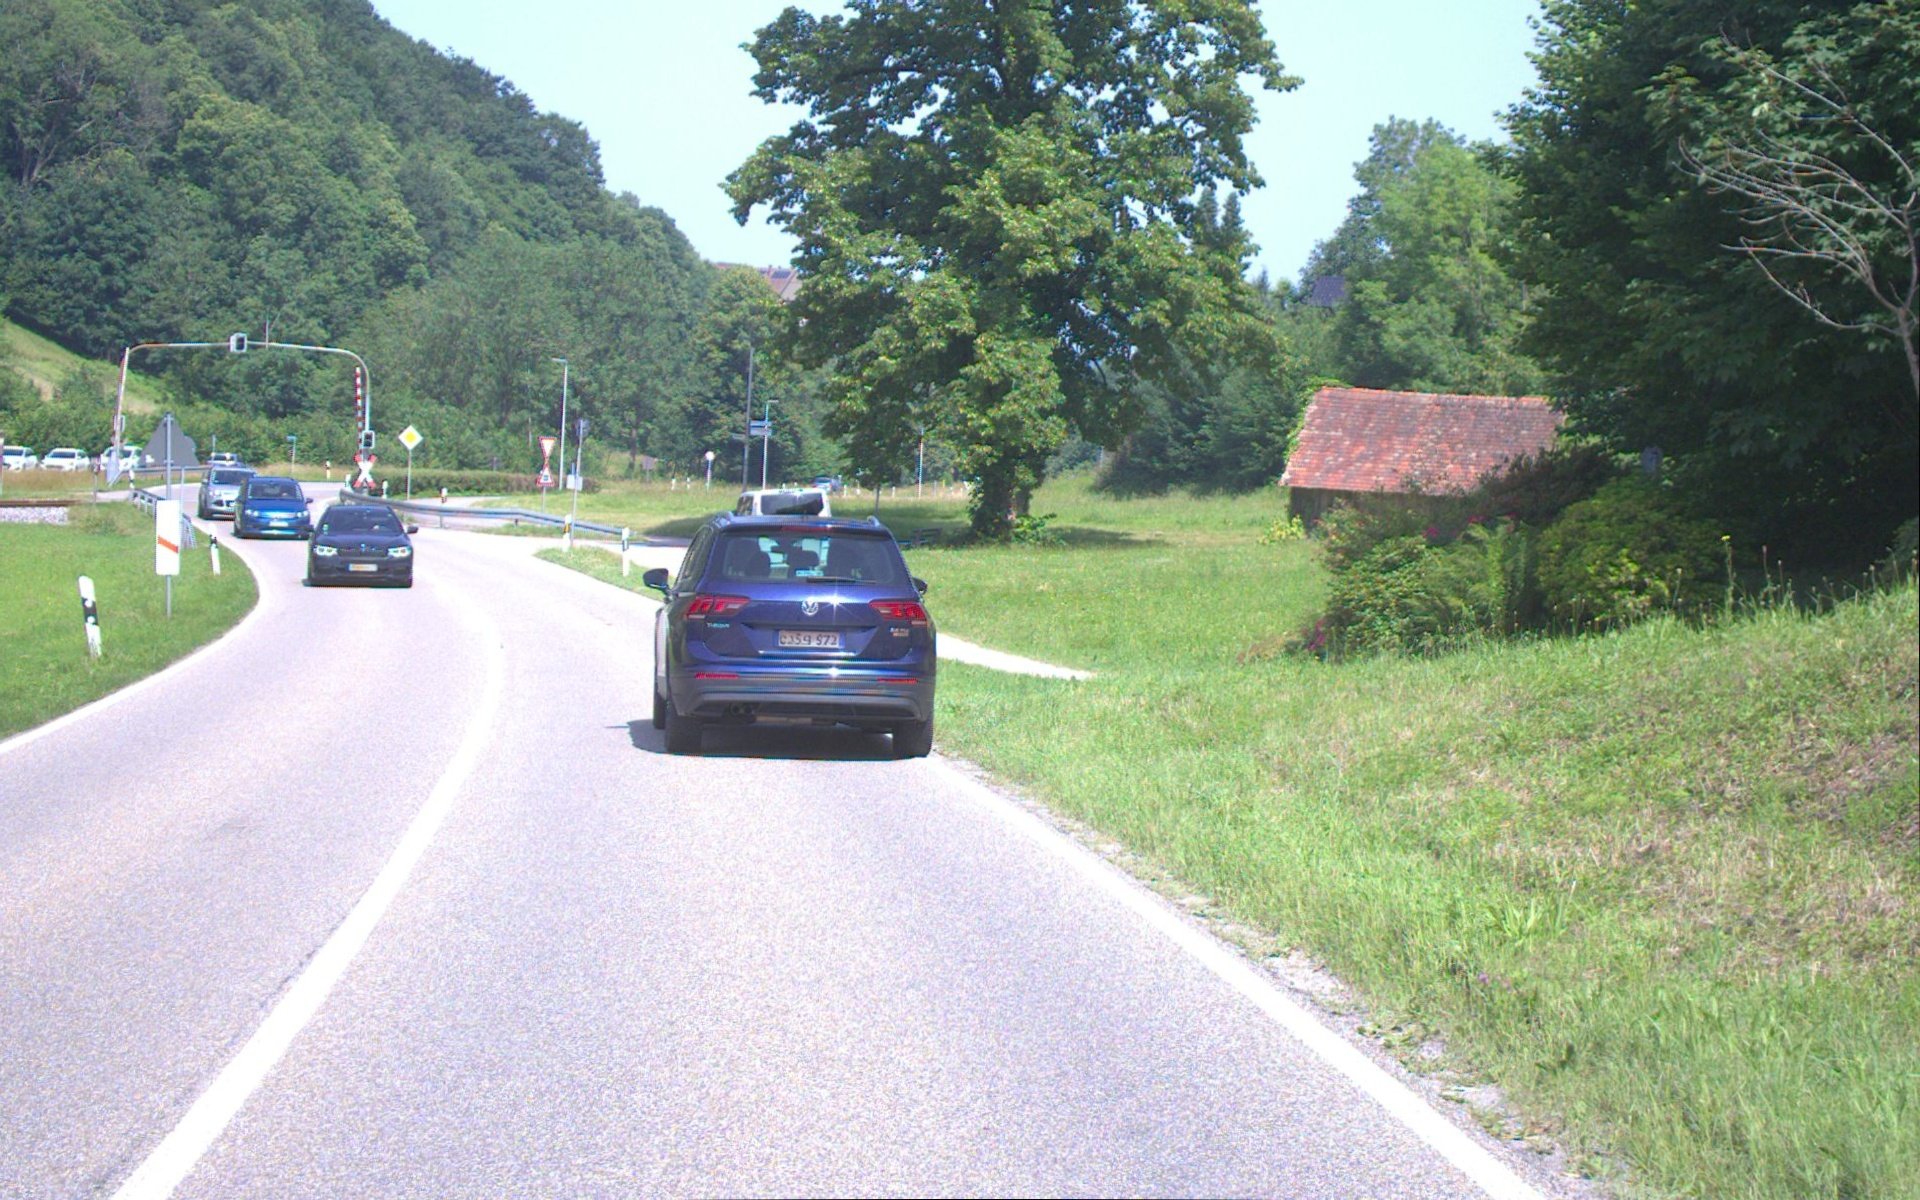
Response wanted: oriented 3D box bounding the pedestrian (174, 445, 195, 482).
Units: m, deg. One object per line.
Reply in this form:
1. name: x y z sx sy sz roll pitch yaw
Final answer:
1. pedestrian: -38.652 -6.800 171.397 0.648 1.852 0.769 3 2 33

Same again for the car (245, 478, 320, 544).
1. car: -18.207 -2.419 92.543 1.865 1.618 4.512 2 2 -10

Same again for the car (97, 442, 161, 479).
1. car: -42.895 -7.211 177.600 1.871 1.776 4.772 3 2 3

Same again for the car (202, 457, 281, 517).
1. car: -22.170 -3.497 106.010 1.914 1.708 4.161 1 2 -18

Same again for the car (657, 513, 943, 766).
1. car: -1.207 0.214 24.401 1.852 1.643 4.141 0 1 -5

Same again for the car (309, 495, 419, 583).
1. car: -11.053 -1.158 63.872 1.916 1.465 4.512 2 2 -9

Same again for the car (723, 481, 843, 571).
1. car: -4.066 -1.713 78.261 1.998 1.842 4.871 -3 3 -11

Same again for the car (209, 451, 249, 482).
1. car: -37.471 -6.867 176.278 1.825 1.495 4.279 1 2 -10

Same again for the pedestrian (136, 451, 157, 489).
1. pedestrian: -40.228 -6.434 169.979 0.788 1.836 0.698 2 2 9

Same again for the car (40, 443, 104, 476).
1. car: -45.710 -7.238 177.029 1.993 1.635 4.902 2 2 -1

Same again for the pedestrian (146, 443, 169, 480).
1. pedestrian: -39.967 -6.898 171.176 0.769 1.790 0.793 2 2 26
